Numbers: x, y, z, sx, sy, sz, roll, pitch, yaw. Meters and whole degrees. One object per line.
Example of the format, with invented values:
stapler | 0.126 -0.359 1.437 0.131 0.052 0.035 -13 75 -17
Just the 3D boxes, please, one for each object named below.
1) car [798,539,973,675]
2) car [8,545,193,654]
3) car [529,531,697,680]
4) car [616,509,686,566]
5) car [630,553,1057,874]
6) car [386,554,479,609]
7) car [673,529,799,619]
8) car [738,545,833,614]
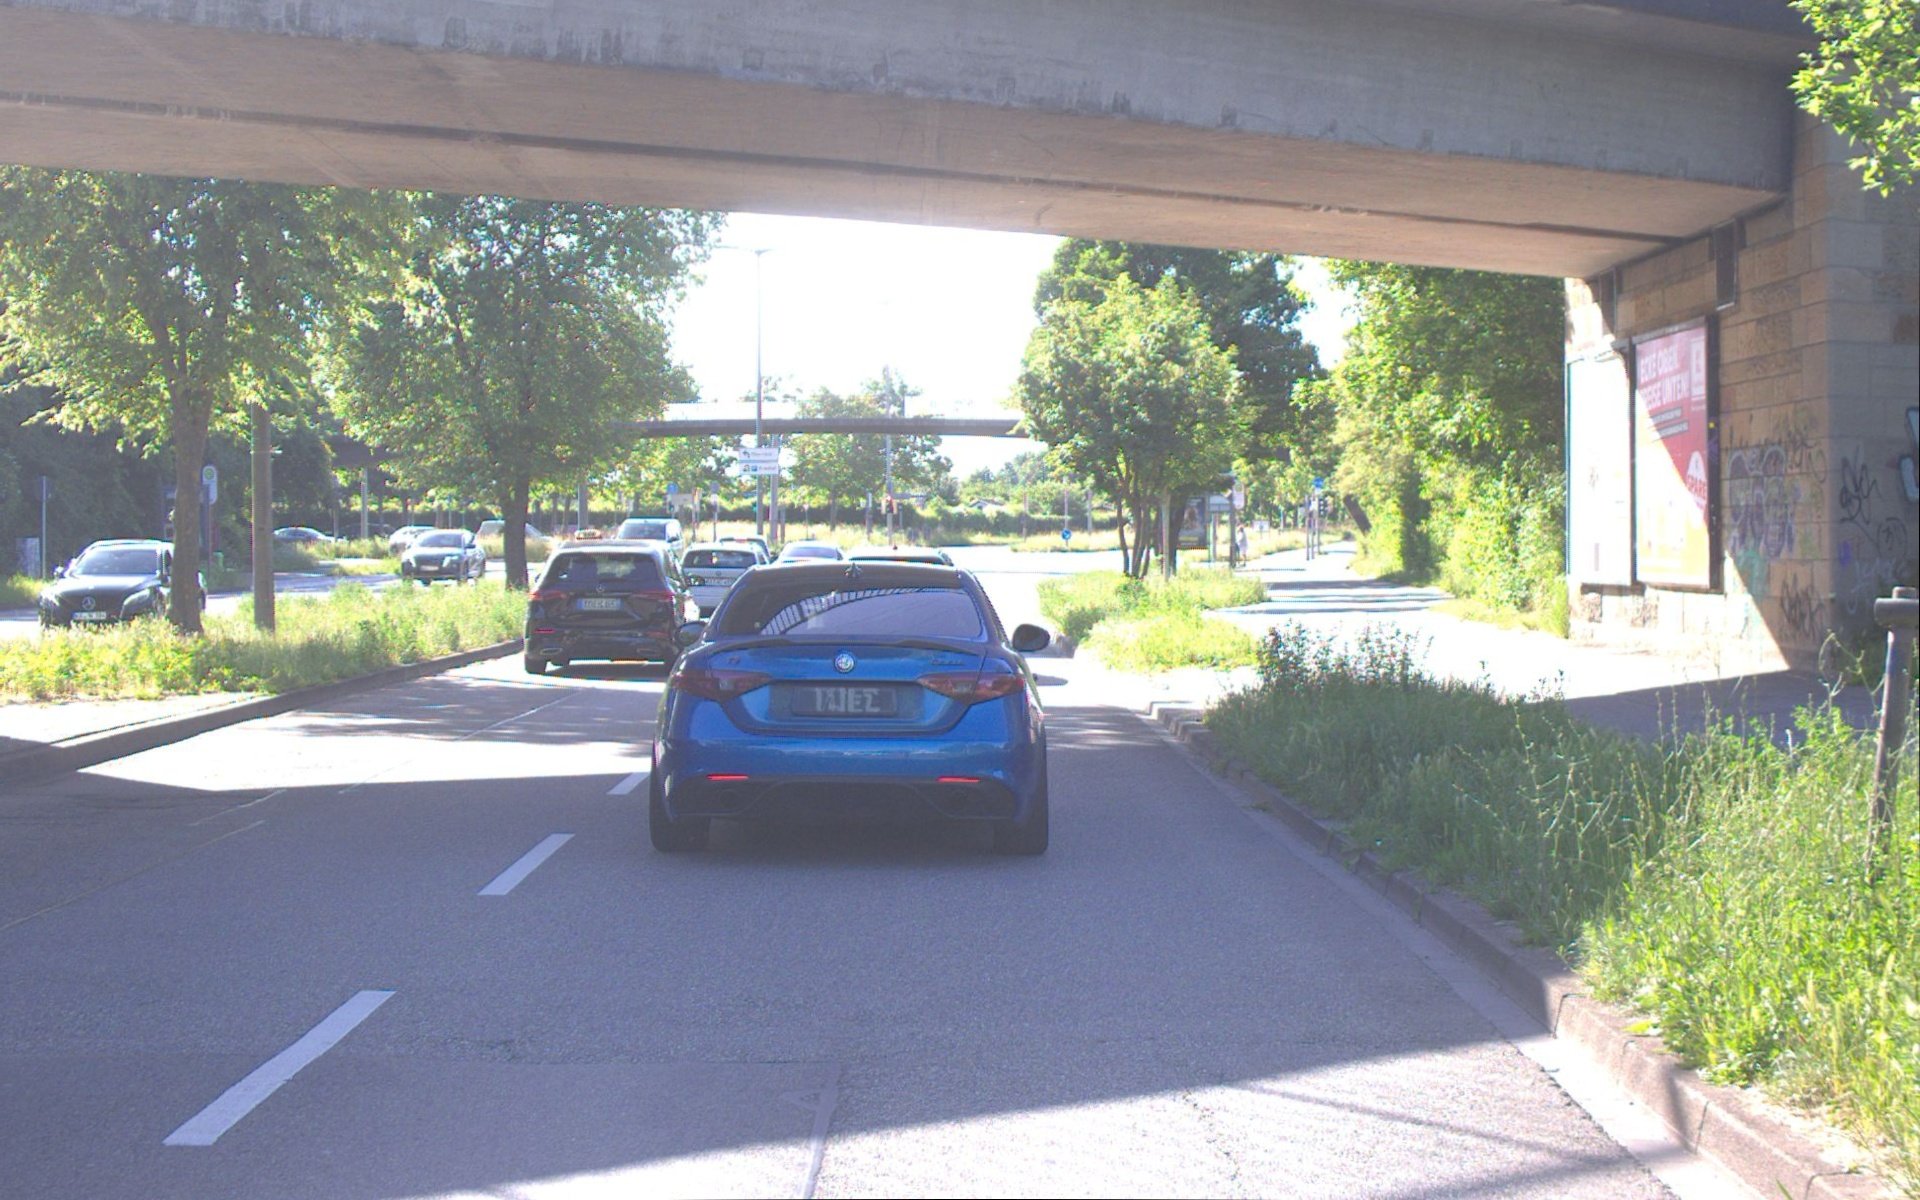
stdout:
car | -0.835 0.050 39.984 1.883 1.449 4.526 1 1 0
car | -13.330 -0.032 53.561 1.842 1.537 4.000 -3 1 0
car | -3.960 0.032 39.771 1.707 1.592 4.224 1 1 -3
car | -10.627 -2.141 118.522 1.993 1.922 5.246 0 1 0
car | -0.539 0.483 17.514 1.883 1.401 4.224 1 1 0
car | -15.608 -0.563 101.847 1.982 1.547 4.593 1 1 0
car | -3.797 -0.461 58.981 1.883 1.449 4.526 1 1 0
car | -3.844 -0.475 76.467 1.883 1.449 4.526 1 1 0
